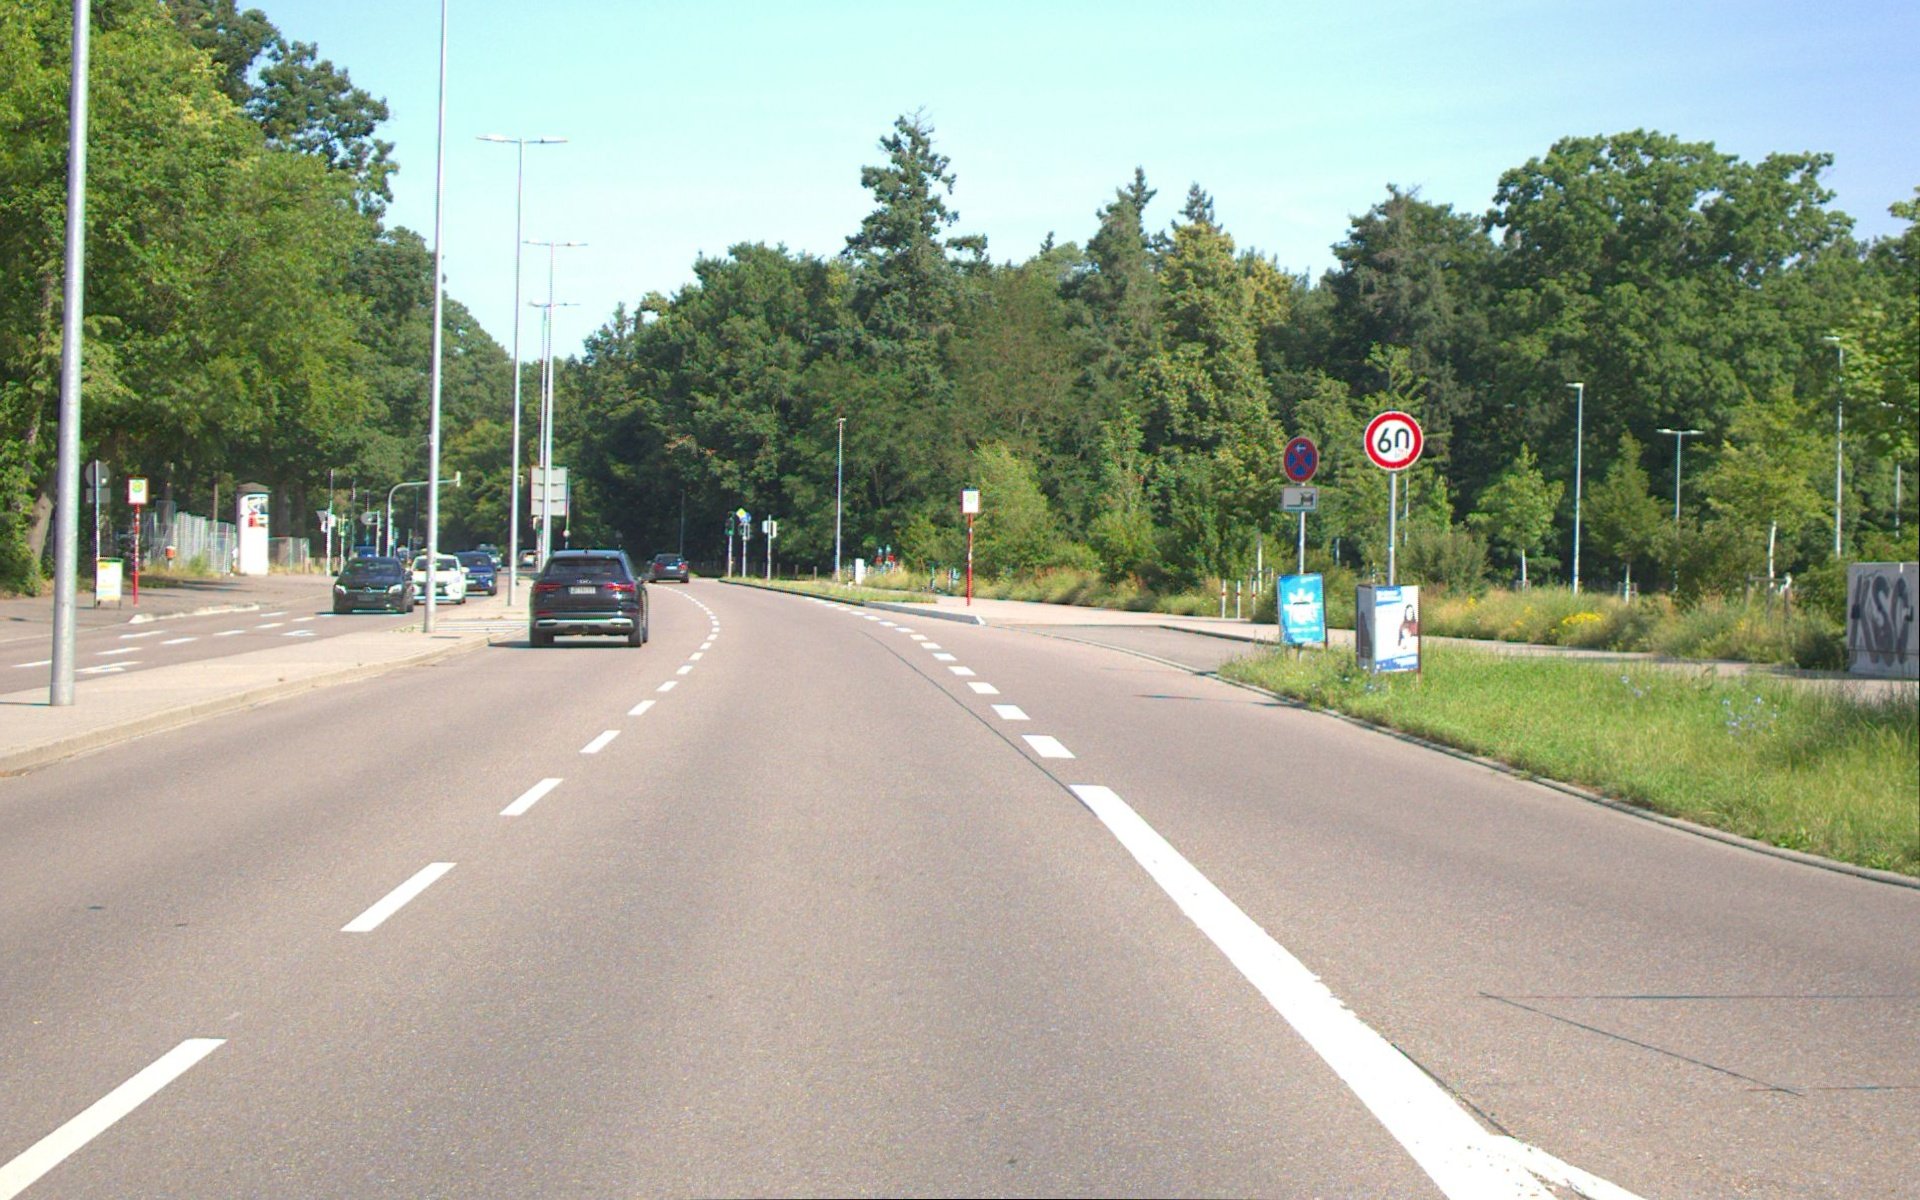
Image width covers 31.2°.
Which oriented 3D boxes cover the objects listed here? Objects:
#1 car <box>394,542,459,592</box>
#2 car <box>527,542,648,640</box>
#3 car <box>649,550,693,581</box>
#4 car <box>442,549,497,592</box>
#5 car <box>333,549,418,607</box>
[{"bbox_3d":[-15.968,-0.998,103.071,1.622,1.461,3.801,-1,1,-4],"label":"car"},{"bbox_3d":[-6.083,-0.177,56.519,1.687,1.539,4.149,0,1,-2],"label":"car"},{"bbox_3d":[-14.028,-1.663,166.692,1.940,1.415,4.294,1,1,-7],"label":"car"},{"bbox_3d":[-17.403,-1.073,122.037,1.753,1.481,3.948,-1,1,-6],"label":"car"},{"bbox_3d":[-14.589,-0.573,85.984,1.810,1.383,4.162,-1,1,-6],"label":"car"}]
